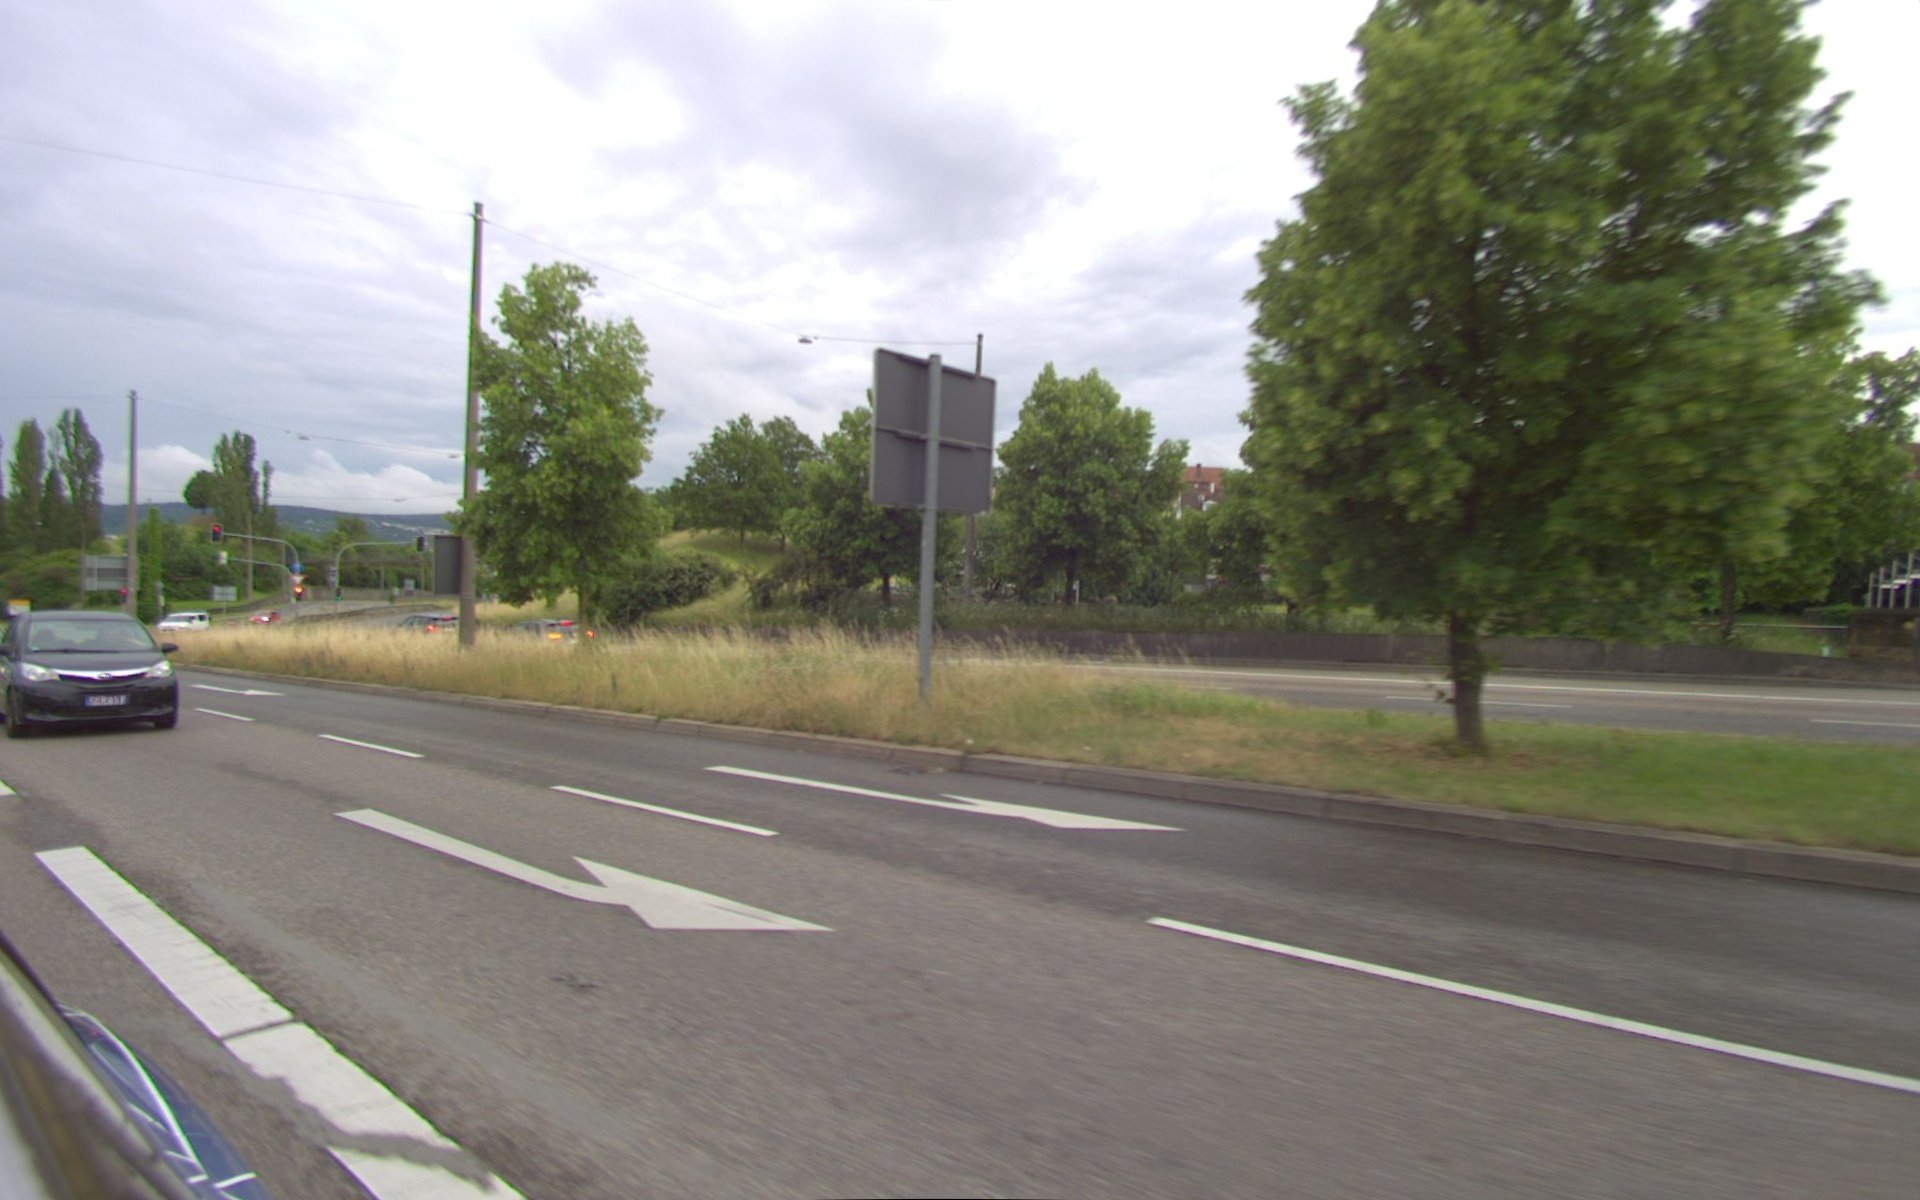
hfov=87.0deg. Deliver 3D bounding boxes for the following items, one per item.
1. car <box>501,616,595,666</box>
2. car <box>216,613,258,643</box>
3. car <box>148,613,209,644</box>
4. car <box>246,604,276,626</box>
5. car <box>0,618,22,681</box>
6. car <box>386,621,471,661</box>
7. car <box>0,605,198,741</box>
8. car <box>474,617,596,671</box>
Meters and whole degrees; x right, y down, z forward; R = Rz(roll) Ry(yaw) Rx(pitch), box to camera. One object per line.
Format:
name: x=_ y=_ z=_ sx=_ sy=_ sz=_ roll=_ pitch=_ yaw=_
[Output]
car: x=-18.009 y=1.761 z=44.204 sx=3.992 sy=2.029 sz=1.976 roll=0 pitch=-2 yaw=36
car: x=-53.610 y=2.075 z=75.061 sx=1.966 sy=2.029 sz=4.012 roll=-3 pitch=-1 yaw=-28
car: x=-56.434 y=2.040 z=73.162 sx=1.967 sy=2.029 sz=4.011 roll=-3 pitch=-1 yaw=-14
car: x=-69.141 y=1.478 z=100.141 sx=1.966 sy=2.029 sz=4.012 roll=-3 pitch=-1 yaw=-28
car: x=-25.905 y=1.228 z=26.358 sx=1.970 sy=1.418 sz=4.528 roll=4 pitch=-2 yaw=-44
car: x=-23.610 y=1.788 z=44.937 sx=3.994 sy=1.632 sz=1.844 roll=-1 pitch=-1 yaw=38
car: x=-12.034 y=0.898 z=13.800 sx=4.040 sy=1.577 sz=1.777 roll=-1 pitch=-2 yaw=41
car: x=-13.945 y=1.385 z=33.135 sx=4.013 sy=1.652 sz=1.975 roll=-1 pitch=-1 yaw=38
